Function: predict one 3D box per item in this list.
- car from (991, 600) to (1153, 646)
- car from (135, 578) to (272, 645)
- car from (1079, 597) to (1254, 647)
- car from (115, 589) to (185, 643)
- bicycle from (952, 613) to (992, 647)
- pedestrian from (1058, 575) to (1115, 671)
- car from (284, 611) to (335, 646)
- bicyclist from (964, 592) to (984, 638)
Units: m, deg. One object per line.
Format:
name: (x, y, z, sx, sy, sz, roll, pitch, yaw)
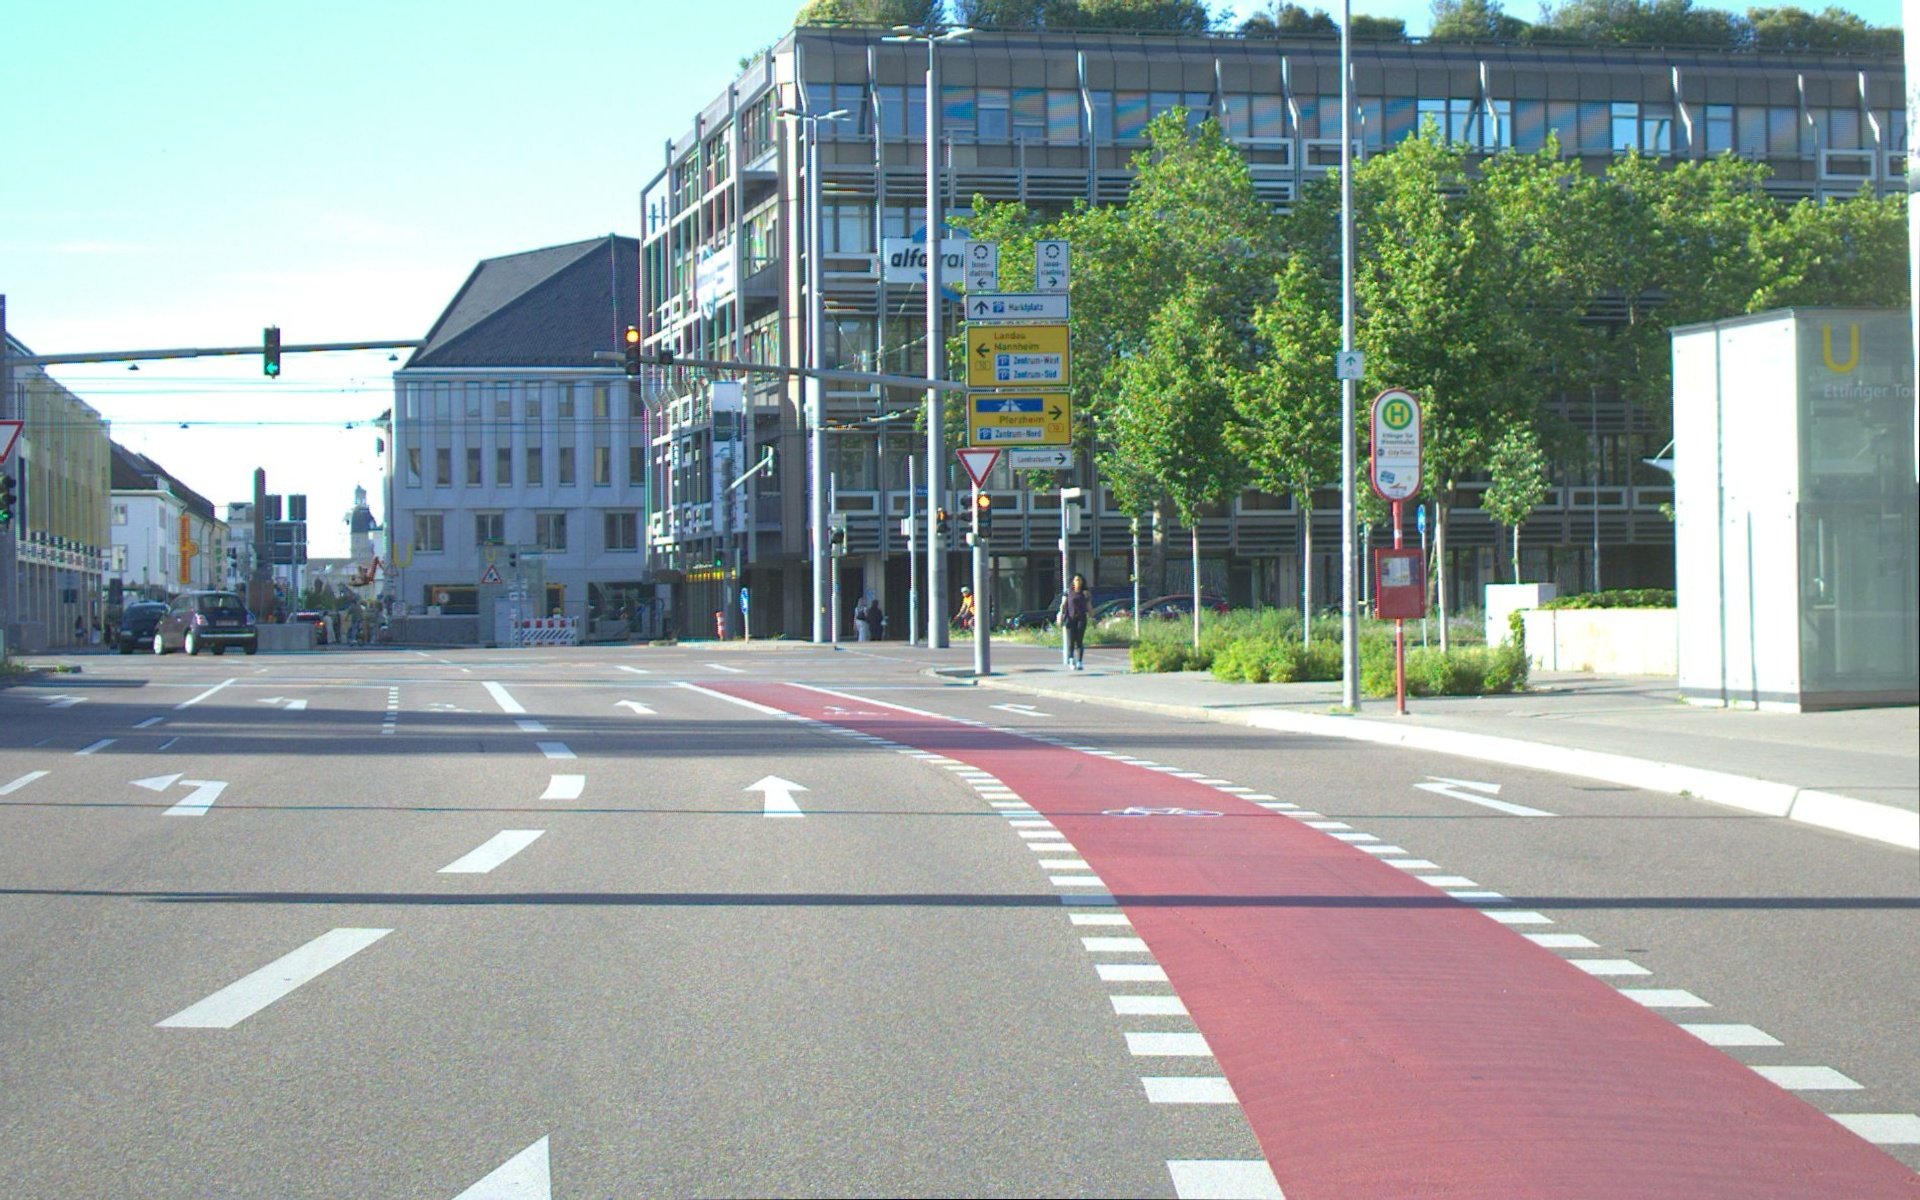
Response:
car: (3.425, 0.699, 105.859, 4.629, 1.351, 2.001, 0, 1, -12)
car: (-17.923, 0.259, 81.328, 1.776, 1.558, 3.788, 0, 0, -36)
car: (5.908, 0.625, 98.497, 4.629, 1.351, 2.001, 0, 1, -12)
car: (-27.705, 0.522, 117.676, 1.993, 1.736, 4.647, 0, 1, -9)
bicycle: (0.346, 0.870, 98.676, 1.076, 0.967, 0.458, 0, 0, -6)
pedestrian: (2.323, 0.418, 63.086, 0.822, 1.742, 1.041, -1, 0, 13)
car: (-29.615, 1.298, 156.464, 1.993, 1.547, 4.001, 0, 0, -15)
bicyclist: (0.396, 0.434, 98.688, 0.508, 1.334, 0.453, 0, 0, -6)
